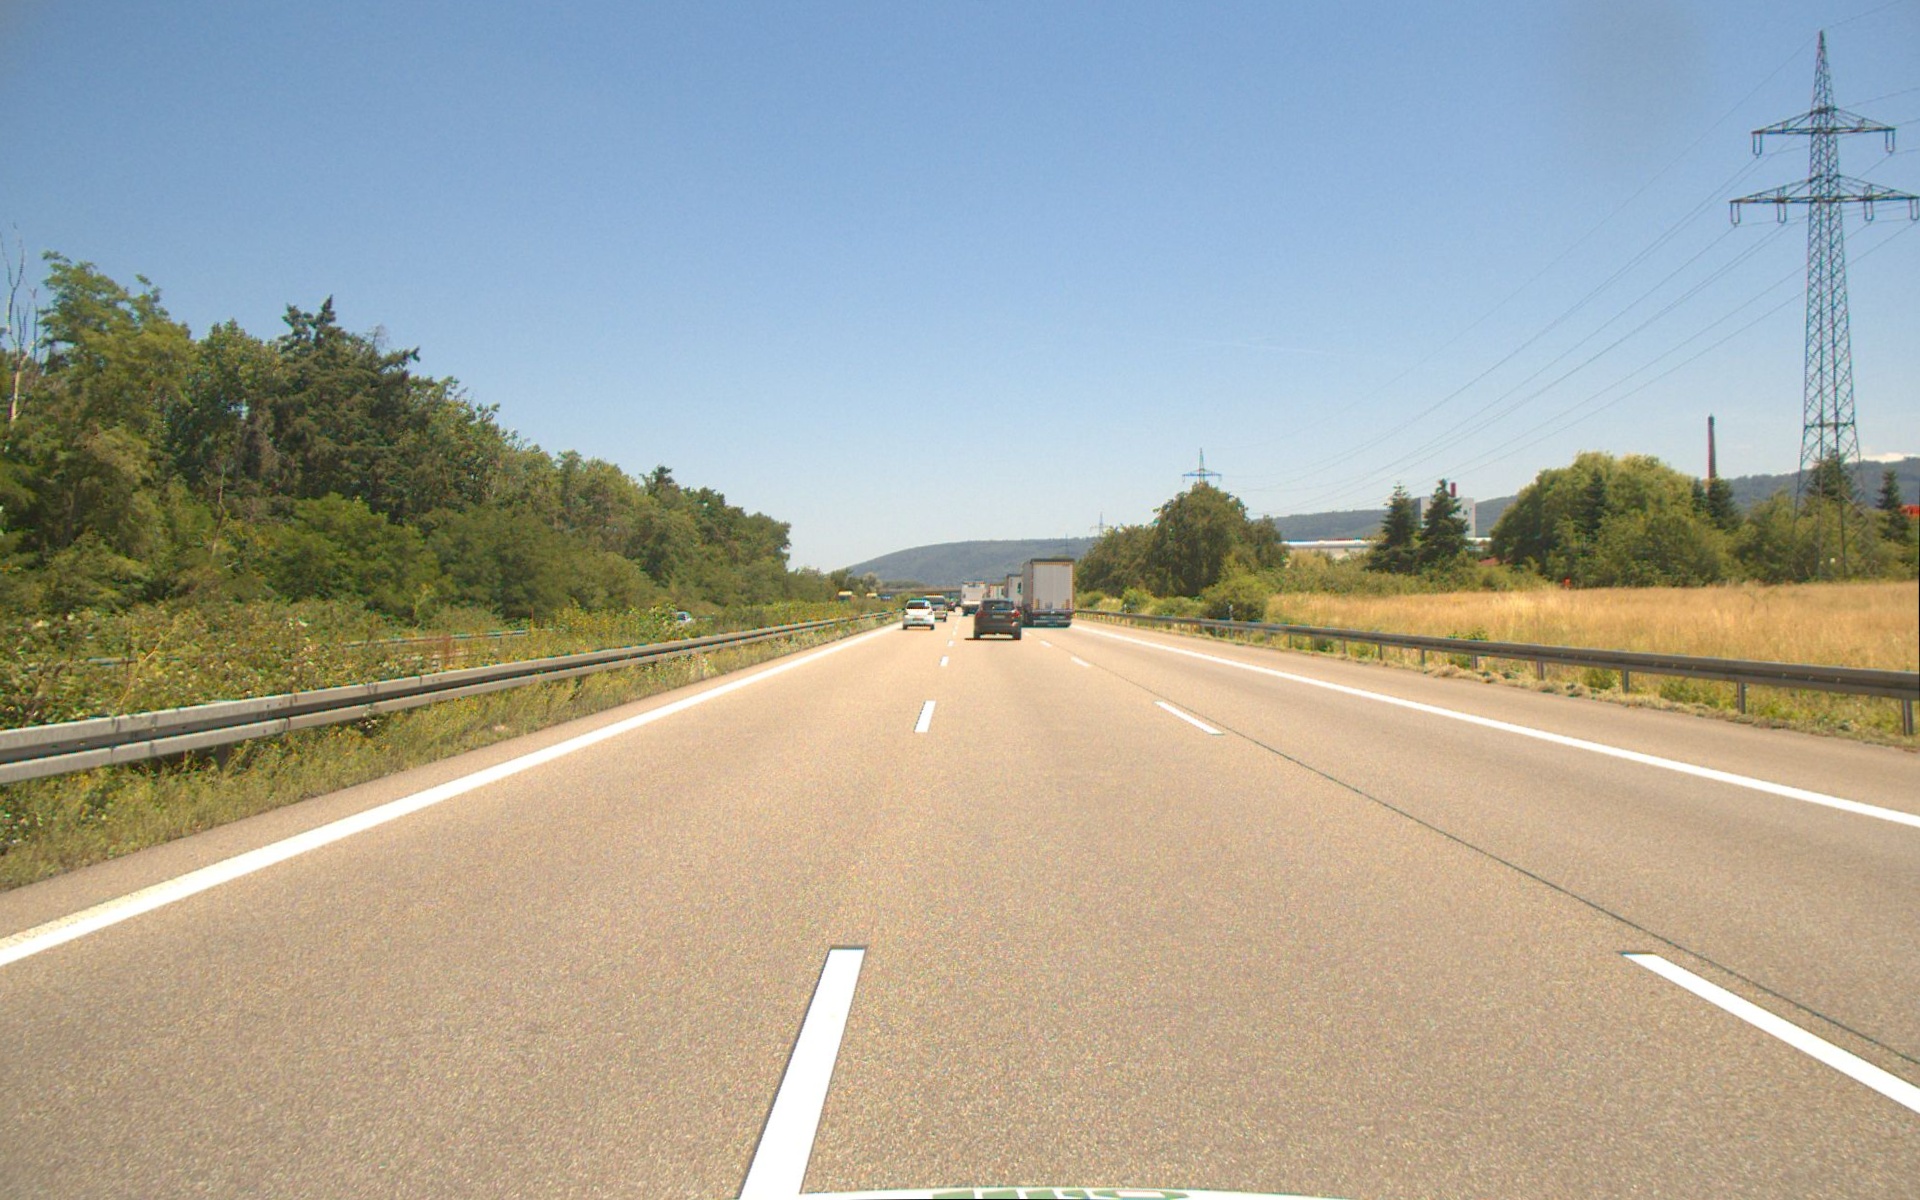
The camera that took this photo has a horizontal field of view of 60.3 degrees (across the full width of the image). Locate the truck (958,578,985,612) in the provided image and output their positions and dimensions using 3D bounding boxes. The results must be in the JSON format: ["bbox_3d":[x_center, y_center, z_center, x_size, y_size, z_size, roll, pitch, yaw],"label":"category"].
[{"bbox_3d":[1.214,-0.509,172.035,2.725,3.432,8.127,0,0,0],"label":"truck"}]

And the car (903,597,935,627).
[{"bbox_3d":[-2.155,0.633,88.083,1.574,1.493,4.000,-2,0,0],"label":"car"}]

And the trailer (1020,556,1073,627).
[{"bbox_3d":[5.291,-0.480,103.455,2.680,4.178,13.121,0,0,0],"label":"trailer"}]

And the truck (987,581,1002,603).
[{"bbox_3d":[5.312,-1.243,255.553,2.176,3.265,10.384,-1,0,0],"label":"truck"}]

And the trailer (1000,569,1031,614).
[{"bbox_3d":[5.500,-0.756,165.629,2.731,4.236,13.574,-2,0,1],"label":"trailer"}]

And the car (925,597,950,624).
[{"bbox_3d":[-1.642,0.757,121.717,1.725,1.883,4.000,-2,0,0],"label":"car"}]

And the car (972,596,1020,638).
[{"bbox_3d":[1.412,0.657,66.274,1.835,1.652,4.004,0,0,0],"label":"car"}]
